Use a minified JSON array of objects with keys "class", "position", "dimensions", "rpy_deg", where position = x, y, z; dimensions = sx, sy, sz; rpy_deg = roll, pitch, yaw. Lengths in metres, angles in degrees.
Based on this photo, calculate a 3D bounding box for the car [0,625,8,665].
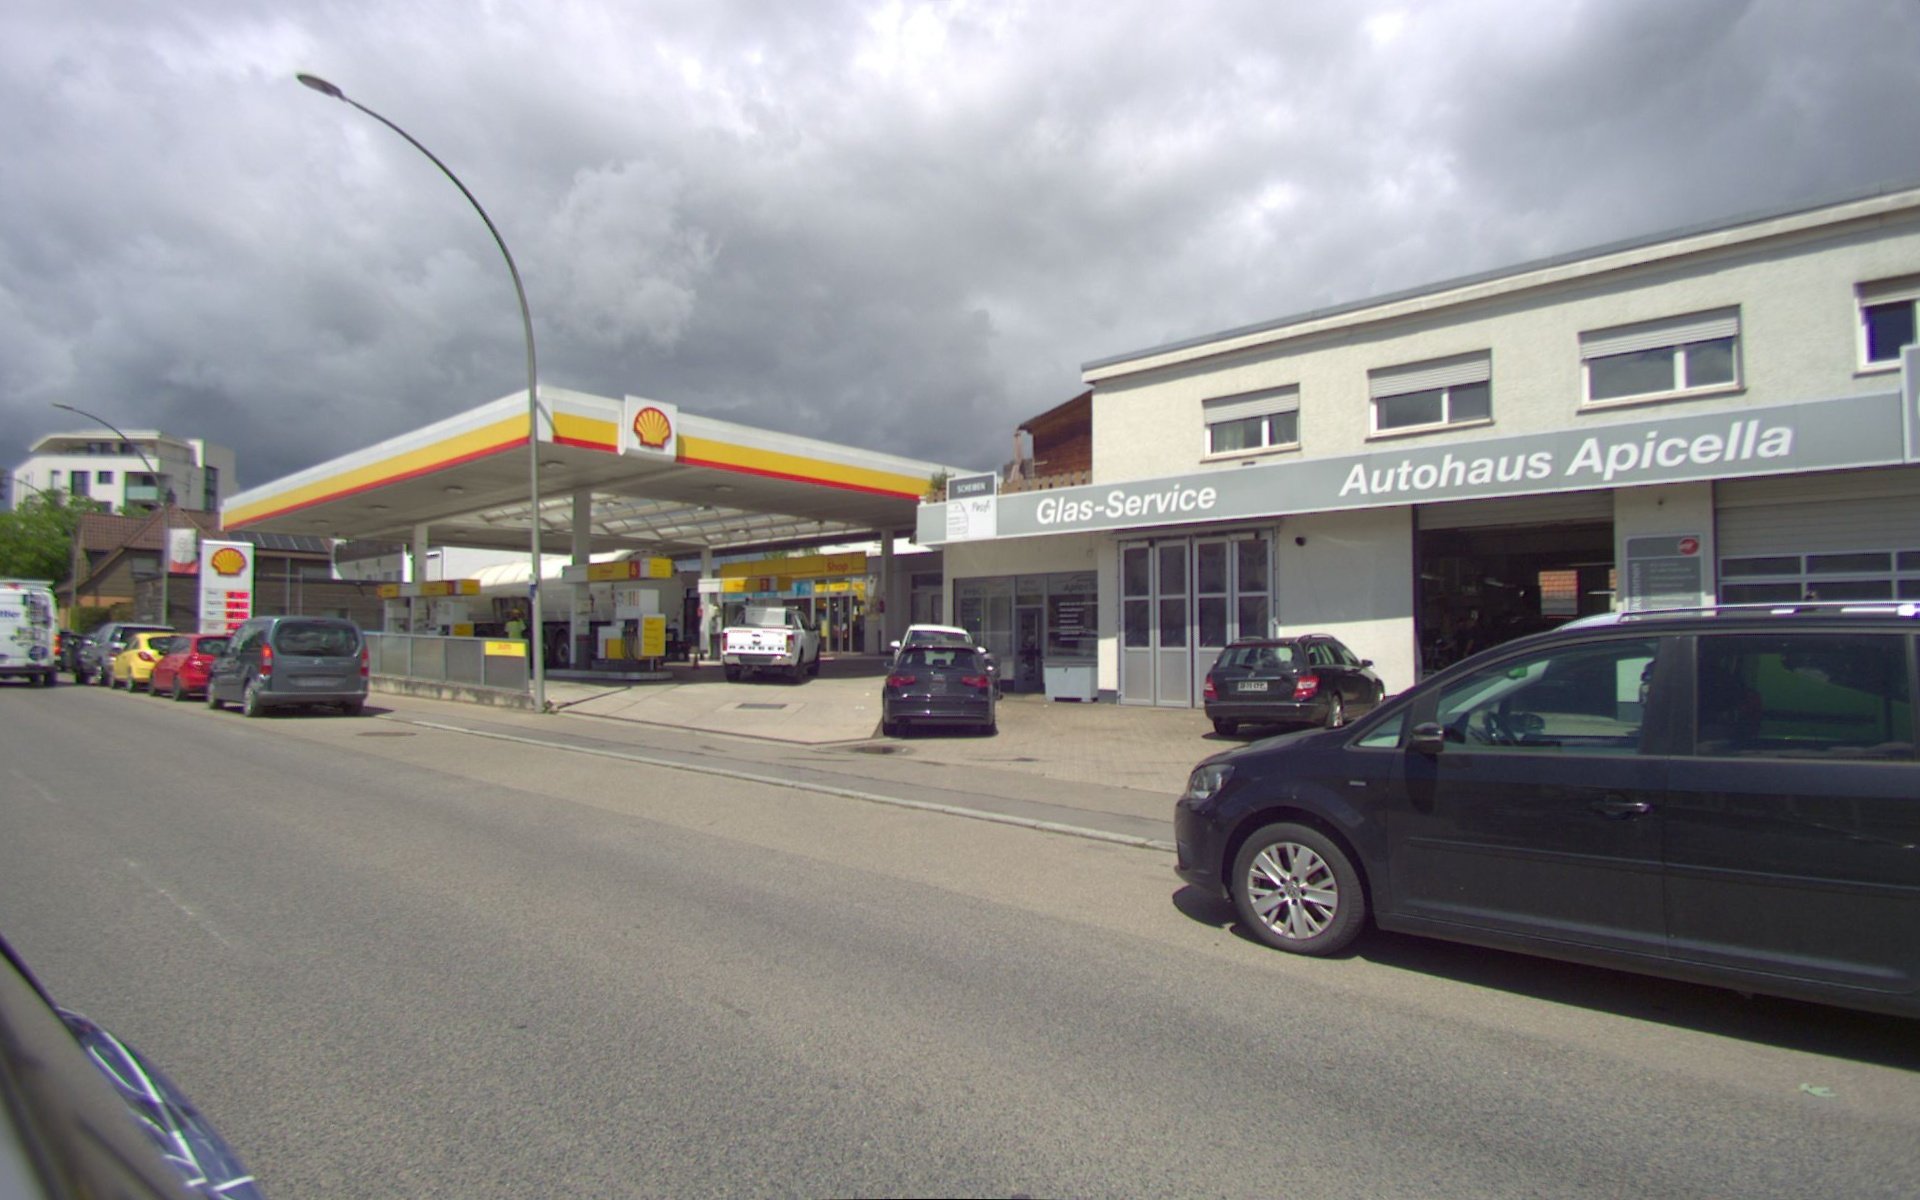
[{"class":"car","position":[-56.454,2.640,58.455],"dimensions":[4.532,2.196,1.765],"rpy_deg":[-5,-4,42]}]

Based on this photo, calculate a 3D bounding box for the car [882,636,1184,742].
[{"class":"car","position":[1.024,1.306,15.286],"dimensions":[4.277,1.501,1.798],"rpy_deg":[0,-2,0]}]

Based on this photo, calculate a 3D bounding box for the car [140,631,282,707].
[{"class":"car","position":[-16.934,1.529,22.808],"dimensions":[4.188,1.526,1.645],"rpy_deg":[-2,-6,42]}]

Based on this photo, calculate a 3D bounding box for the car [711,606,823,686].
[{"class":"car","position":[-4.833,1.136,26.023],"dimensions":[1.948,1.866,4.982],"rpy_deg":[0,-2,0]}]

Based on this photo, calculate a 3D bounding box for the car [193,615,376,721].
[{"class":"car","position":[-12.683,1.256,18.909],"dimensions":[4.188,1.751,1.711],"rpy_deg":[-2,-6,42]}]

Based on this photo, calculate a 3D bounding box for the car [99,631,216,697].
[{"class":"car","position":[-20.619,1.614,25.957],"dimensions":[3.945,1.526,1.644],"rpy_deg":[-2,-7,43]}]

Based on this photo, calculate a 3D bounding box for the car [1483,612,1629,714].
[{"class":"car","position":[11.209,1.079,18.913],"dimensions":[1.867,1.630,3.950],"rpy_deg":[-1,-1,37]}]

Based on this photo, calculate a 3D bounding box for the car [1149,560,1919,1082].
[{"class":"car","position":[3.208,0.775,4.349],"dimensions":[4.525,1.693,1.645],"rpy_deg":[-2,-5,42]}]

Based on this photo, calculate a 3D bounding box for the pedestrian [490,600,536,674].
[{"class":"pedestrian","position":[-13.559,1.099,30.694],"dimensions":[1.011,2.195,0.928],"rpy_deg":[-2,-1,41]}]

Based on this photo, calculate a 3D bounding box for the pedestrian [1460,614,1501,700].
[{"class":"pedestrian","position":[10.233,1.106,19.883],"dimensions":[0.592,1.632,0.621],"rpy_deg":[-2,-1,37]}]

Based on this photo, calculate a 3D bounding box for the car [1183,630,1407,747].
[{"class":"car","position":[5.246,1.238,15.469],"dimensions":[1.972,1.504,4.358],"rpy_deg":[-3,-3,36]}]

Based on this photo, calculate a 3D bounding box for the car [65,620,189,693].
[{"class":"car","position":[-23.880,1.598,28.965],"dimensions":[4.311,1.882,1.767],"rpy_deg":[-1,-6,39]}]

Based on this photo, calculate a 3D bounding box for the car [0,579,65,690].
[{"class":"car","position":[-26.524,0.952,27.860],"dimensions":[6.162,2.787,1.971],"rpy_deg":[-2,-4,42]}]

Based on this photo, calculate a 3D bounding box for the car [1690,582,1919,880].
[{"class":"car","position":[7.179,0.784,6.118],"dimensions":[4.336,1.799,1.773],"rpy_deg":[-2,-2,41]}]

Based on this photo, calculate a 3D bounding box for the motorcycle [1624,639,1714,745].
[{"class":"motorcycle","position":[9.682,1.188,13.785],"dimensions":[0.846,1.239,2.176],"rpy_deg":[-2,-1,39]}]

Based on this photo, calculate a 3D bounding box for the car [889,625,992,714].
[{"class":"car","position":[-0.529,1.430,22.207],"dimensions":[1.946,1.623,4.416],"rpy_deg":[4,-2,-3]}]
